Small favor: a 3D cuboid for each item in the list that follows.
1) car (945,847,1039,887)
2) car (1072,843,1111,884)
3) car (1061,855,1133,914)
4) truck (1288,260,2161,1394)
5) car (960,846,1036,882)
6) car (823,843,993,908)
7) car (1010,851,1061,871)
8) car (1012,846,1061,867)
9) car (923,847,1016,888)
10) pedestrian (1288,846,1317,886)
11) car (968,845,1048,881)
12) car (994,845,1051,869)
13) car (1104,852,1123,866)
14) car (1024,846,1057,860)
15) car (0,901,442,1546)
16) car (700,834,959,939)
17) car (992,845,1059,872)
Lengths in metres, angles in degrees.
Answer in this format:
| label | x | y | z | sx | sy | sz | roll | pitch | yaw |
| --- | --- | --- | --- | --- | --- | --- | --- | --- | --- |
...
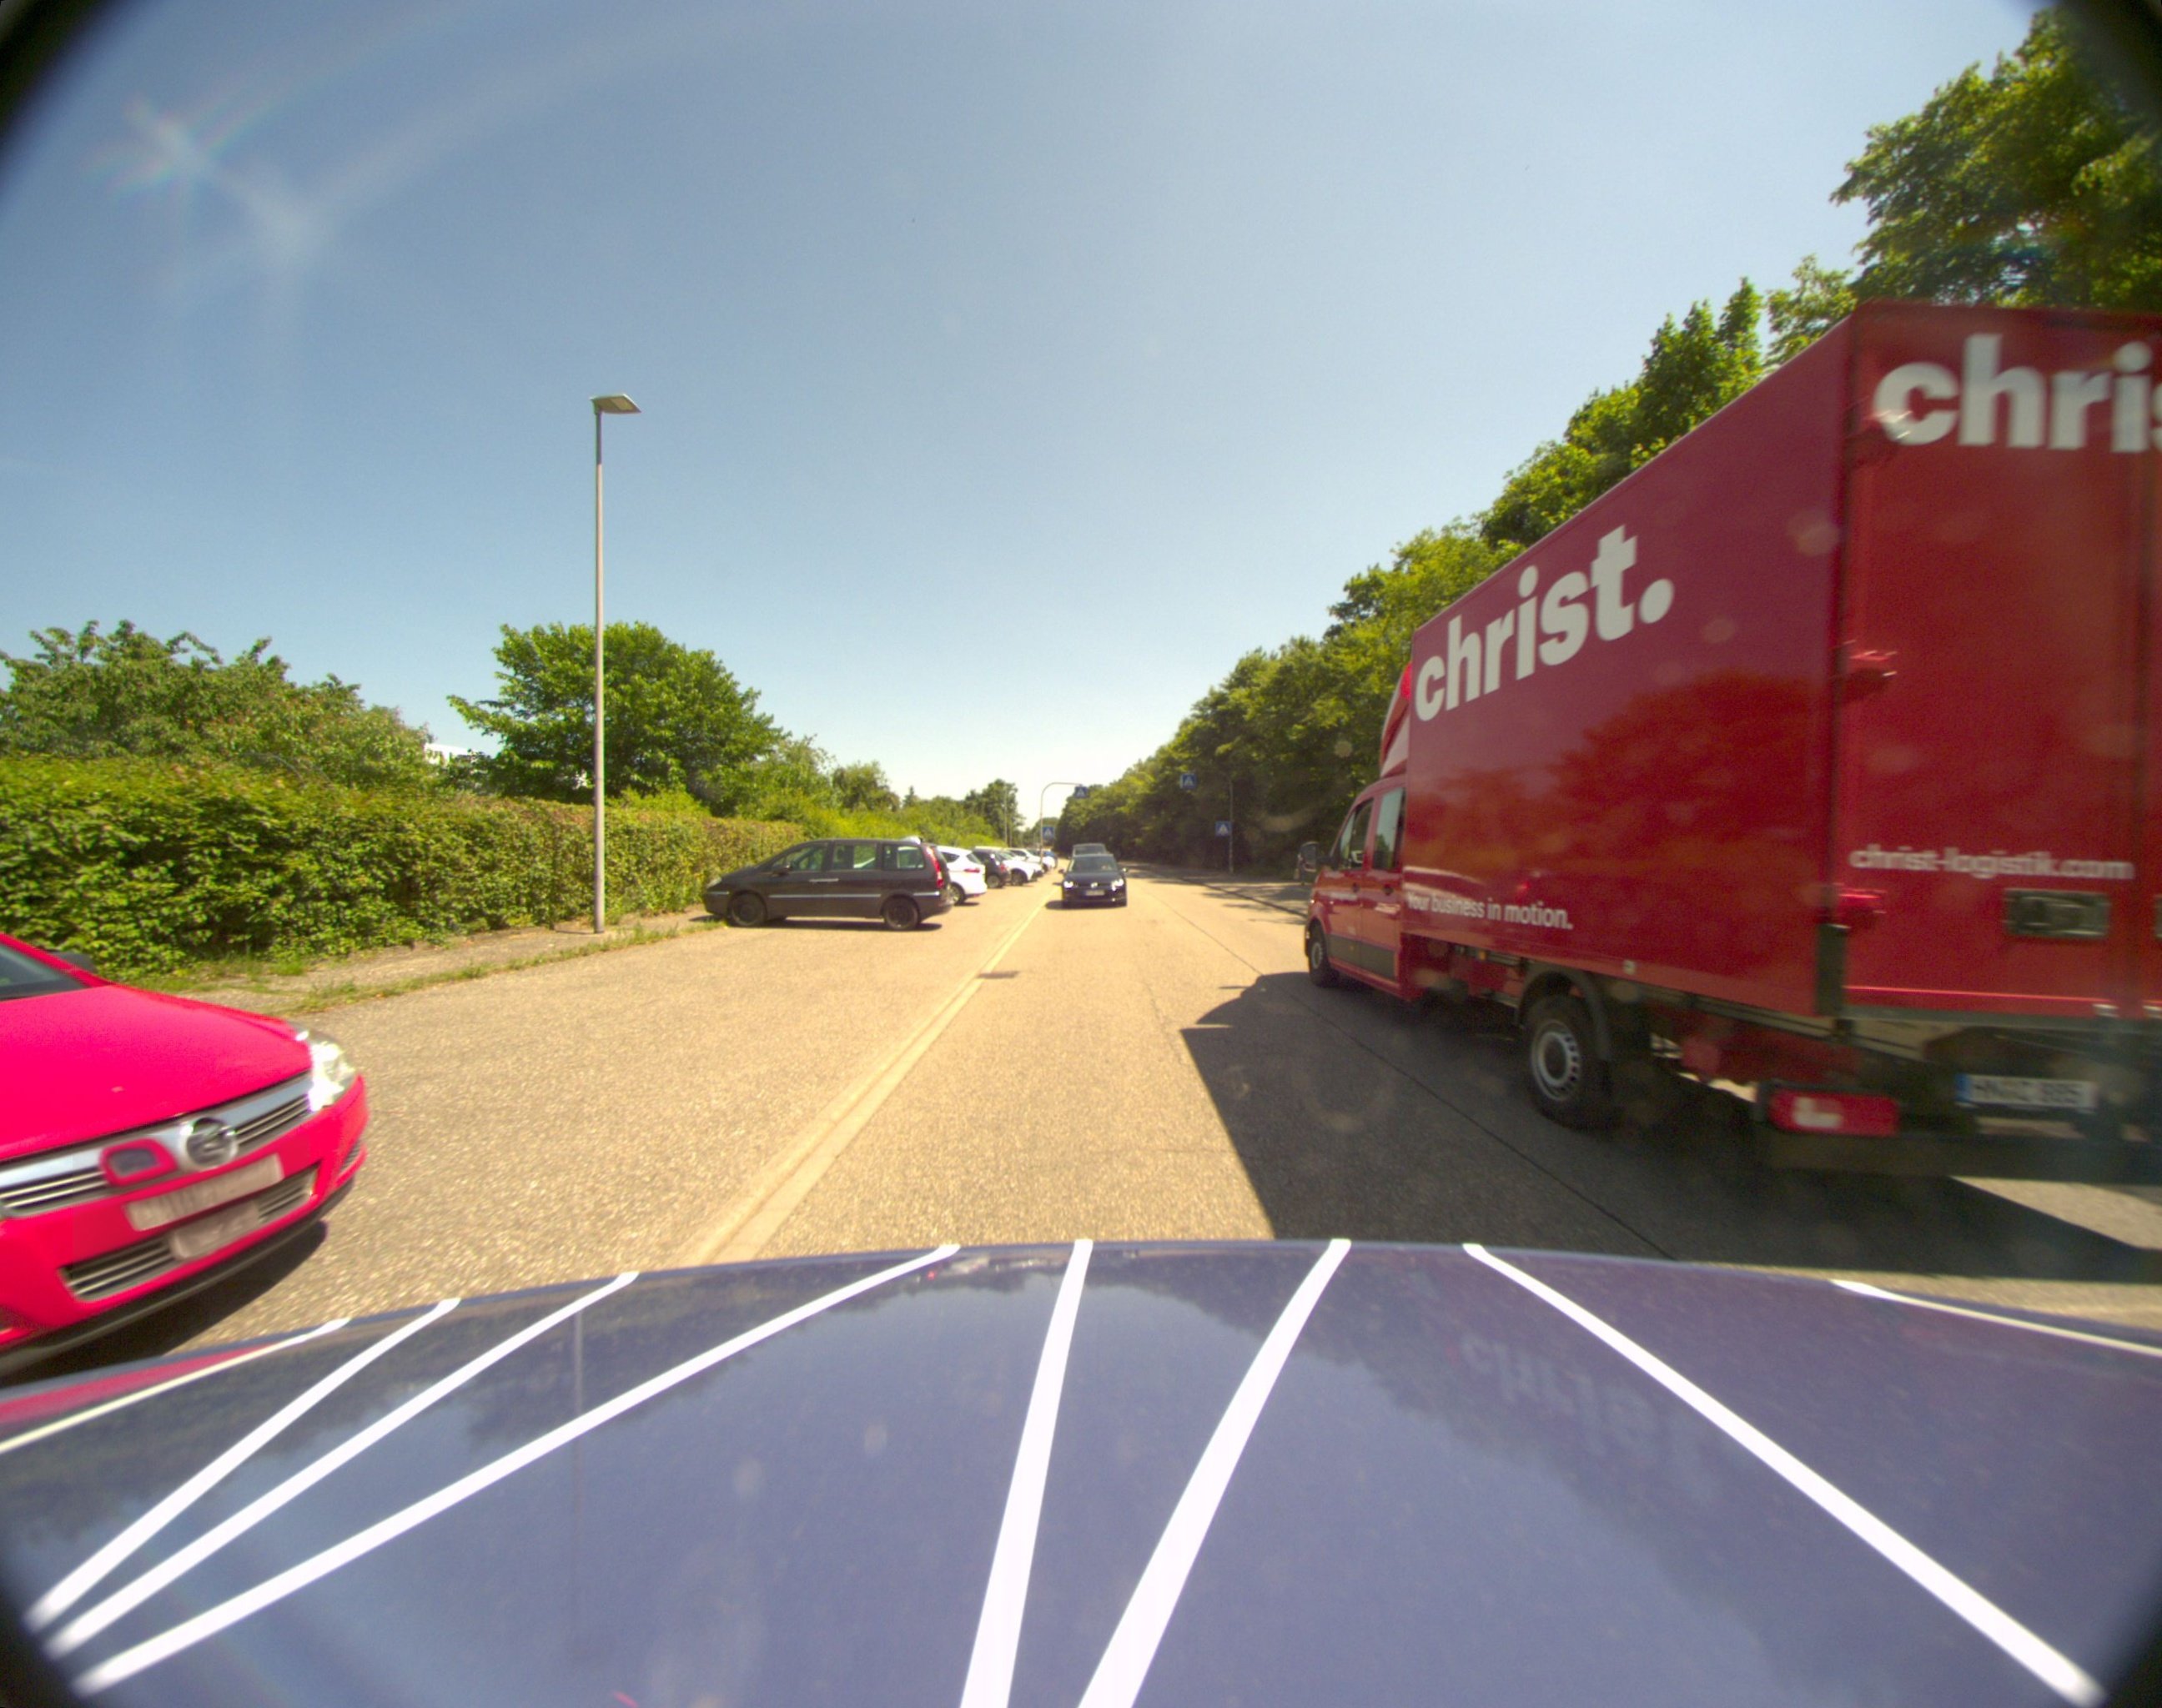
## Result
| label | x | y | z | sx | sy | sz | roll | pitch | yaw |
| --- | --- | --- | --- | --- | --- | --- | --- | --- | --- |
| car | -3.906 | 0.546 | 33.649 | 3.974 | 1.514 | 1.863 | 3 | 0 | -5 |
| car | 0.490 | 0.439 | 38.306 | 1.743 | 1.905 | 4.387 | -1 | 0 | -2 |
| car | 0.341 | 0.770 | 21.105 | 1.743 | 1.396 | 4.387 | -1 | 0 | -2 |
| truck | 3.734 | -0.052 | 5.883 | 2.328 | 3.420 | 7.161 | 3 | 0 | 1 |
| car | -3.943 | 0.457 | 36.473 | 3.462 | 1.518 | 1.539 | 3 | 0 | -5 |
| car | -4.715 | 0.574 | 21.155 | 4.287 | 1.569 | 1.765 | 2 | 0 | -2 |
| car | -3.669 | 0.566 | 62.176 | 4.037 | 1.401 | 1.679 | 2 | 1 | -2 |
| car | -3.811 | 0.200 | 65.077 | 4.036 | 1.632 | 1.673 | 2 | 1 | -1 |
| car | -4.434 | 0.539 | 30.595 | 3.395 | 1.495 | 1.588 | 2 | 0 | 4 |
| pedestrian | 9.150 | 0.475 | 31.403 | 0.934 | 1.603 | 0.885 | -1 | 1 | -1 |
| car | -3.763 | 0.445 | 39.455 | 3.971 | 1.631 | 1.663 | 3 | 0 | -4 |
| car | -4.205 | 0.218 | 55.293 | 3.983 | 1.676 | 1.766 | 1 | 1 | -1 |
| car | 3.692 | 0.545 | 88.010 | 1.896 | 1.523 | 4.196 | 3 | 0 | -1 |
| car | -5.752 | -0.162 | 106.935 | 4.494 | 1.840 | 1.694 | 2 | 1 | -5 |
| car | -4.643 | 0.893 | 2.122 | 4.065 | 1.426 | 1.835 | 2 | 0 | -2 |
| car | -4.788 | 0.595 | 15.027 | 4.465 | 1.794 | 1.951 | 2 | 1 | -4 |
| car | -3.812 | 0.312 | 52.550 | 4.464 | 1.720 | 1.850 | 2 | 1 | 1 |
